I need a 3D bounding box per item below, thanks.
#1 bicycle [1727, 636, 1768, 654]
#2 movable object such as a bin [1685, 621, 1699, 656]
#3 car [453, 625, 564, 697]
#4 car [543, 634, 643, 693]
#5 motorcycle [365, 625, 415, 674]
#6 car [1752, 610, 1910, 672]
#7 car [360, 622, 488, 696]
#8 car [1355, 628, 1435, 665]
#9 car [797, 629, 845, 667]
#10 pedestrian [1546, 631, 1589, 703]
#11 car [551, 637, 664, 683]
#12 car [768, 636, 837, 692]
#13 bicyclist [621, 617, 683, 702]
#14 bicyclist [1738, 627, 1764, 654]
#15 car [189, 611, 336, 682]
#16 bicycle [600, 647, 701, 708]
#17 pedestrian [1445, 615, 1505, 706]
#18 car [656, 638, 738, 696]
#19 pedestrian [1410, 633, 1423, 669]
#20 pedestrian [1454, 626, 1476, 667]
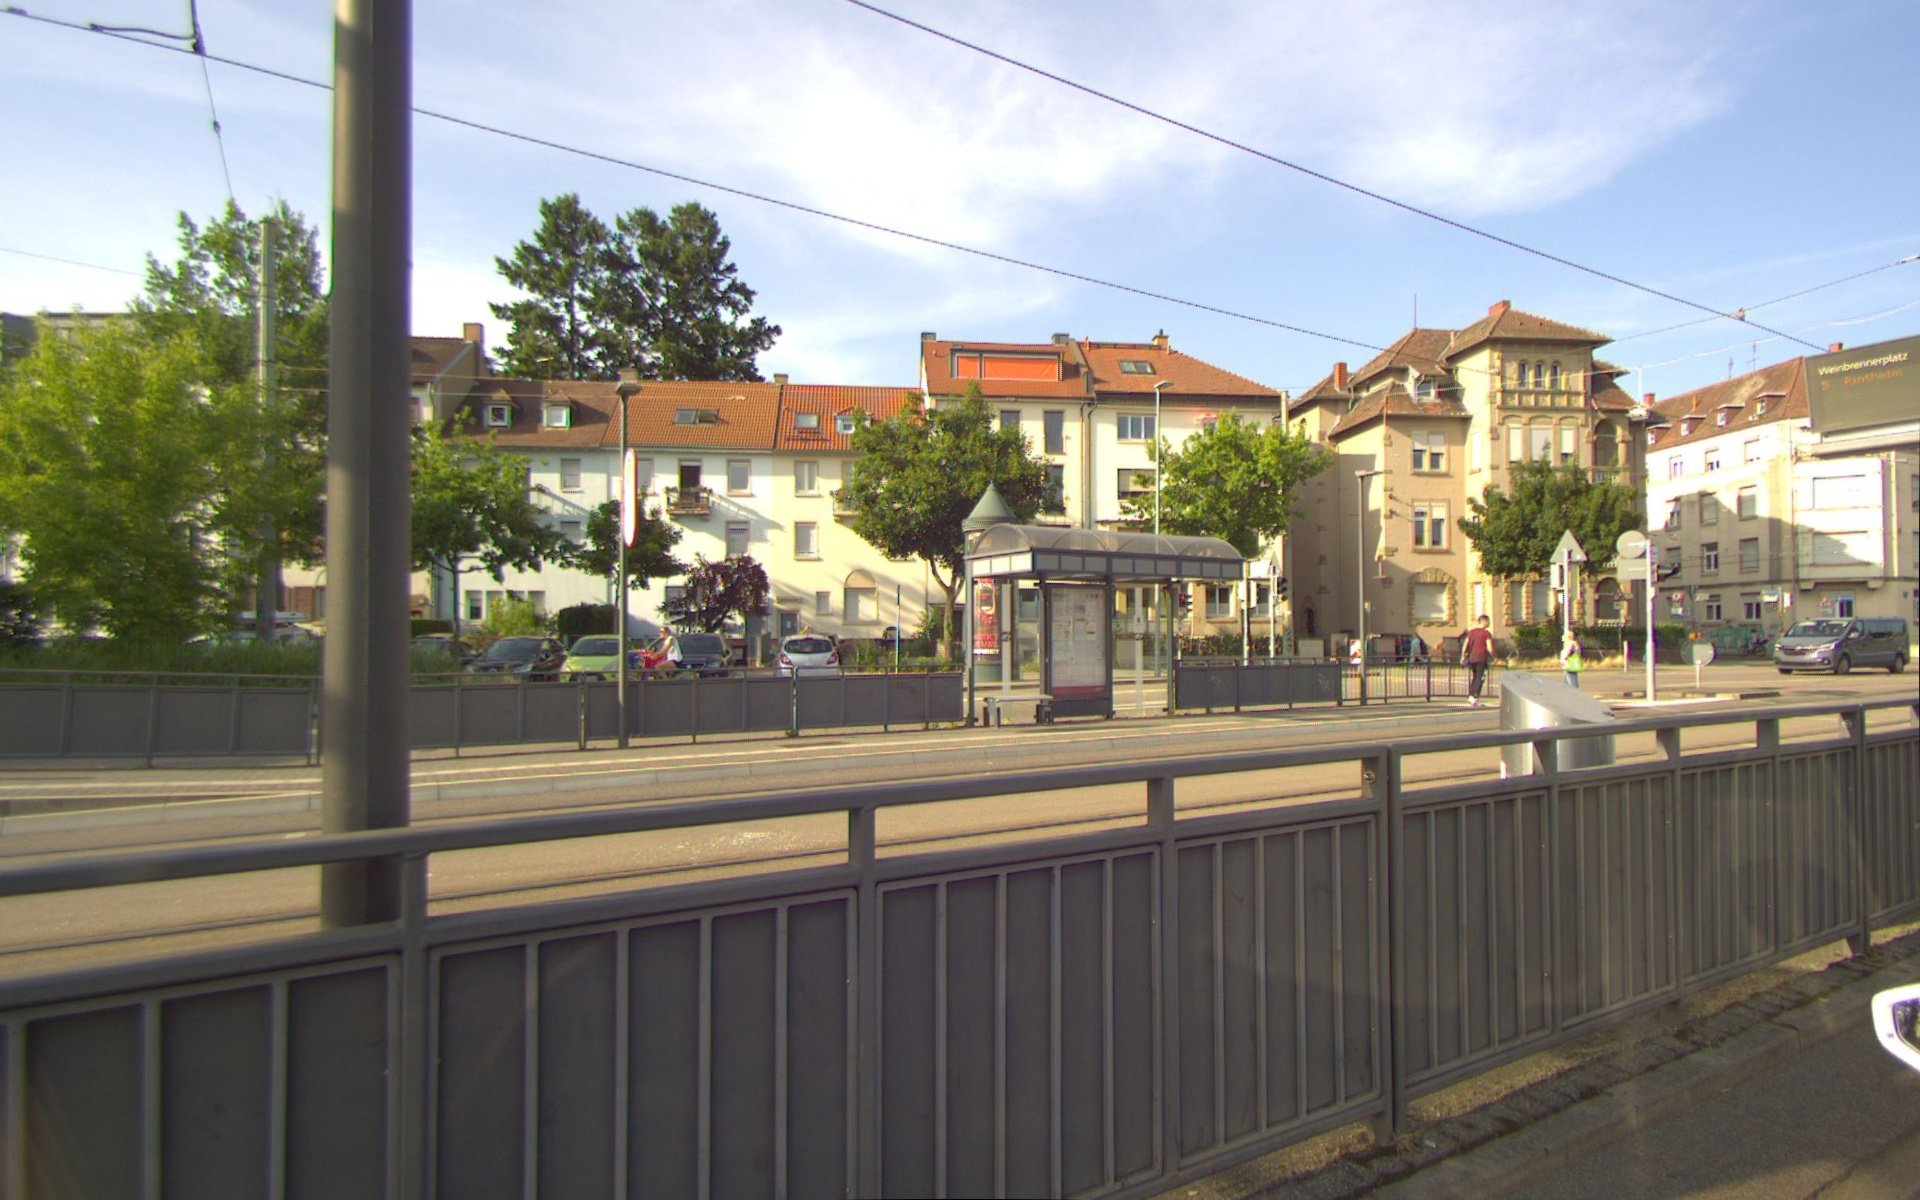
[{"bbox_3d":[47.955,2.733,61.226,0.729,1.019,1.994,0,-2,-9],"label":"bicycle"},{"bbox_3d":[37.057,1.964,50.867,0.259,1.732,2.379,-1,-2,29],"label":"movable object such as a bin"},{"bbox_3d":[-11.973,1.580,26.914,1.822,1.777,3.993,0,-2,-11],"label":"car"},{"bbox_3d":[-9.730,1.639,26.943,1.740,1.447,3.995,0,-2,-9],"label":"car"},{"bbox_3d":[-12.636,1.085,22.280,0.912,1.065,0.496,1,-2,-37],"label":"motorcycle"},{"bbox_3d":[30.337,1.410,34.968,5.313,2.040,2.140,1,-2,-25],"label":"car"},{"bbox_3d":[-13.885,1.498,26.296,1.822,1.777,3.993,0,-2,-11],"label":"car"},{"bbox_3d":[20.318,2.146,47.073,1.742,1.653,3.998,0,-2,-5],"label":"car"},{"bbox_3d":[-6.078,2.081,44.322,1.821,1.578,3.998,0,-2,-4],"label":"car"},{"bbox_3d":[13.880,1.522,22.958,0.708,1.610,0.586,1,-2,-34],"label":"pedestrian"},{"bbox_3d":[-12.183,2.059,34.869,3.444,1.544,1.567,0,-2,-7],"label":"car"},{"bbox_3d":[-4.371,1.724,27.978,1.740,1.447,3.995,0,-2,-9],"label":"car"},{"bbox_3d":[-6.221,1.180,20.259,1.059,1.646,0.701,0,1,-31],"label":"bicyclist"},{"bbox_3d":[48.020,2.443,60.960,0.650,1.590,1.041,0,-2,-10],"label":"bicyclist"},{"bbox_3d":[-18.962,1.248,27.534,1.822,1.777,3.993,0,-2,-11],"label":"car"},{"bbox_3d":[-6.247,1.551,20.315,1.842,1.125,0.722,1,1,-30],"label":"bicycle"},{"bbox_3d":[9.837,1.140,19.186,0.874,1.692,0.666,1,-2,-33],"label":"pedestrian"},{"bbox_3d":[-7.067,1.758,27.349,1.740,1.447,3.995,0,-2,-9],"label":"car"},{"bbox_3d":[19.877,2.214,43.750,0.382,1.535,0.405,0,-2,-3],"label":"pedestrian"},{"bbox_3d":[21.299,1.957,42.373,0.592,1.673,0.681,0,-1,-3],"label":"pedestrian"}]
